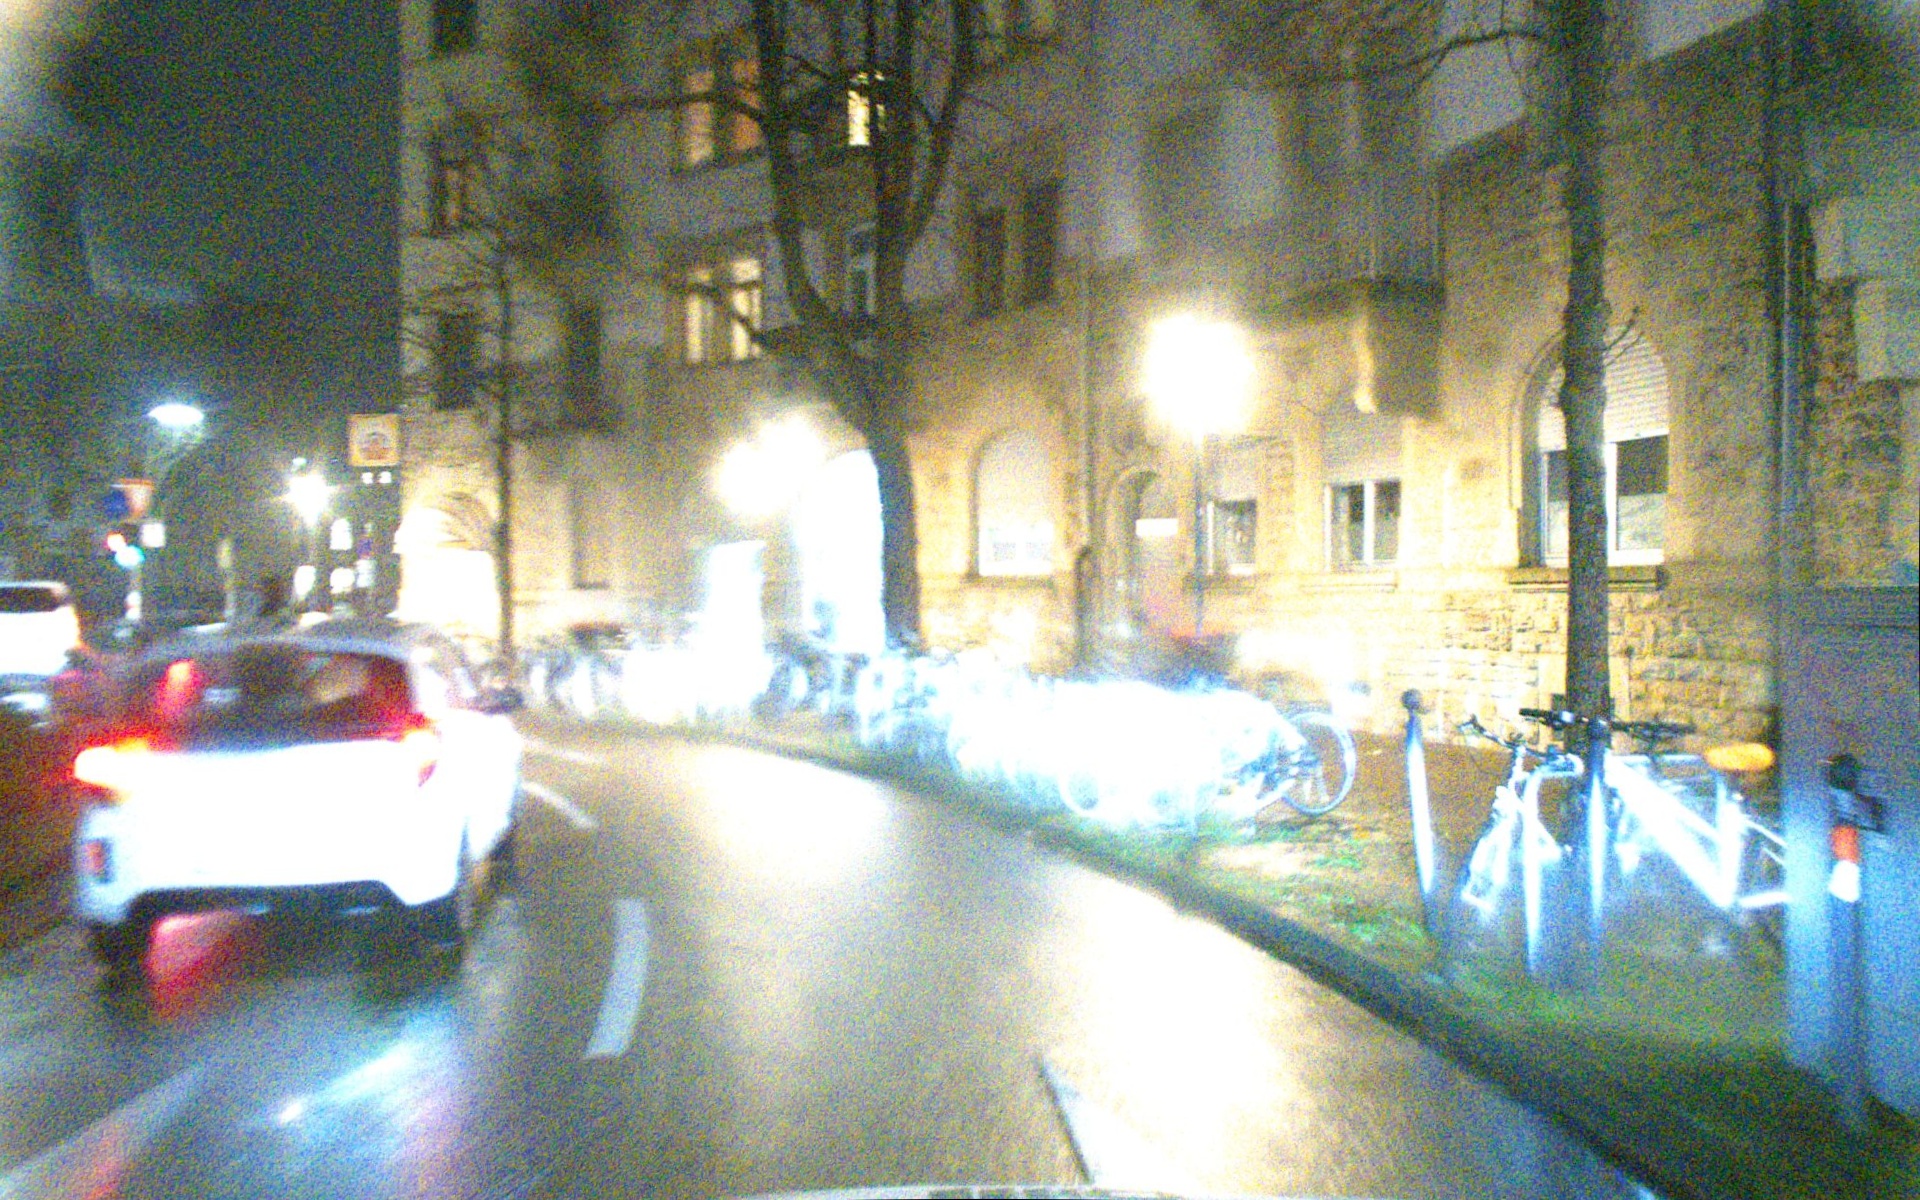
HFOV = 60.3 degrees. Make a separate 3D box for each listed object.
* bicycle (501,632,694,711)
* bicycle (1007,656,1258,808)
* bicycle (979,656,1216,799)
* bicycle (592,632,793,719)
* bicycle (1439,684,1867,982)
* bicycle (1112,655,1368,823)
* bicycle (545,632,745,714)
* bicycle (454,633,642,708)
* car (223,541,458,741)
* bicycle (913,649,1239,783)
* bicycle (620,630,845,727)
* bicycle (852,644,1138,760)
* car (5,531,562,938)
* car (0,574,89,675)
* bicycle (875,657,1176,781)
[{"bbox_3d":[-5.243,1.016,24.094,2.749,1.044,0.715,0,0,-40],"label":"bicycle"},{"bbox_3d":[1.330,0.989,12.705,1.900,1.078,0.448,0,0,-17],"label":"bicycle"},{"bbox_3d":[1.126,1.017,13.460,1.900,1.078,0.448,0,0,-17],"label":"bicycle"},{"bbox_3d":[-3.518,0.973,22.044,2.755,1.044,0.713,0,0,-45],"label":"bicycle"},{"bbox_3d":[2.780,0.902,6.652,1.629,1.078,0.449,0,0,-12],"label":"bicycle"},{"bbox_3d":[1.923,0.936,11.374,1.699,1.078,0.449,0,0,-12],"label":"bicycle"},{"bbox_3d":[-4.352,0.991,23.021,2.749,1.044,0.715,0,0,-40],"label":"bicycle"},{"bbox_3d":[-6.251,1.049,25.230,2.749,1.044,0.715,0,0,-40],"label":"bicycle"},{"bbox_3d":[-6.349,0.443,16.789,1.967,1.758,3.970,1,-2,-23],"label":"car"},{"bbox_3d":[0.997,0.965,14.186,2.722,1.044,0.722,0,0,-17],"label":"bicycle"},{"bbox_3d":[-2.849,0.958,20.705,2.722,1.149,0.722,0,0,-17],"label":"bicycle"},{"bbox_3d":[0.346,0.973,16.170,2.722,1.044,0.722,0,0,-17],"label":"bicycle"},{"bbox_3d":[-3.168,0.615,8.504,1.697,1.642,3.456,1,-2,-6],"label":"car"},{"bbox_3d":[-17.683,0.495,30.893,1.977,1.758,3.950,2,-3,-35],"label":"car"},{"bbox_3d":[0.611,1.077,15.353,2.722,1.044,0.722,0,0,-17],"label":"bicycle"}]
